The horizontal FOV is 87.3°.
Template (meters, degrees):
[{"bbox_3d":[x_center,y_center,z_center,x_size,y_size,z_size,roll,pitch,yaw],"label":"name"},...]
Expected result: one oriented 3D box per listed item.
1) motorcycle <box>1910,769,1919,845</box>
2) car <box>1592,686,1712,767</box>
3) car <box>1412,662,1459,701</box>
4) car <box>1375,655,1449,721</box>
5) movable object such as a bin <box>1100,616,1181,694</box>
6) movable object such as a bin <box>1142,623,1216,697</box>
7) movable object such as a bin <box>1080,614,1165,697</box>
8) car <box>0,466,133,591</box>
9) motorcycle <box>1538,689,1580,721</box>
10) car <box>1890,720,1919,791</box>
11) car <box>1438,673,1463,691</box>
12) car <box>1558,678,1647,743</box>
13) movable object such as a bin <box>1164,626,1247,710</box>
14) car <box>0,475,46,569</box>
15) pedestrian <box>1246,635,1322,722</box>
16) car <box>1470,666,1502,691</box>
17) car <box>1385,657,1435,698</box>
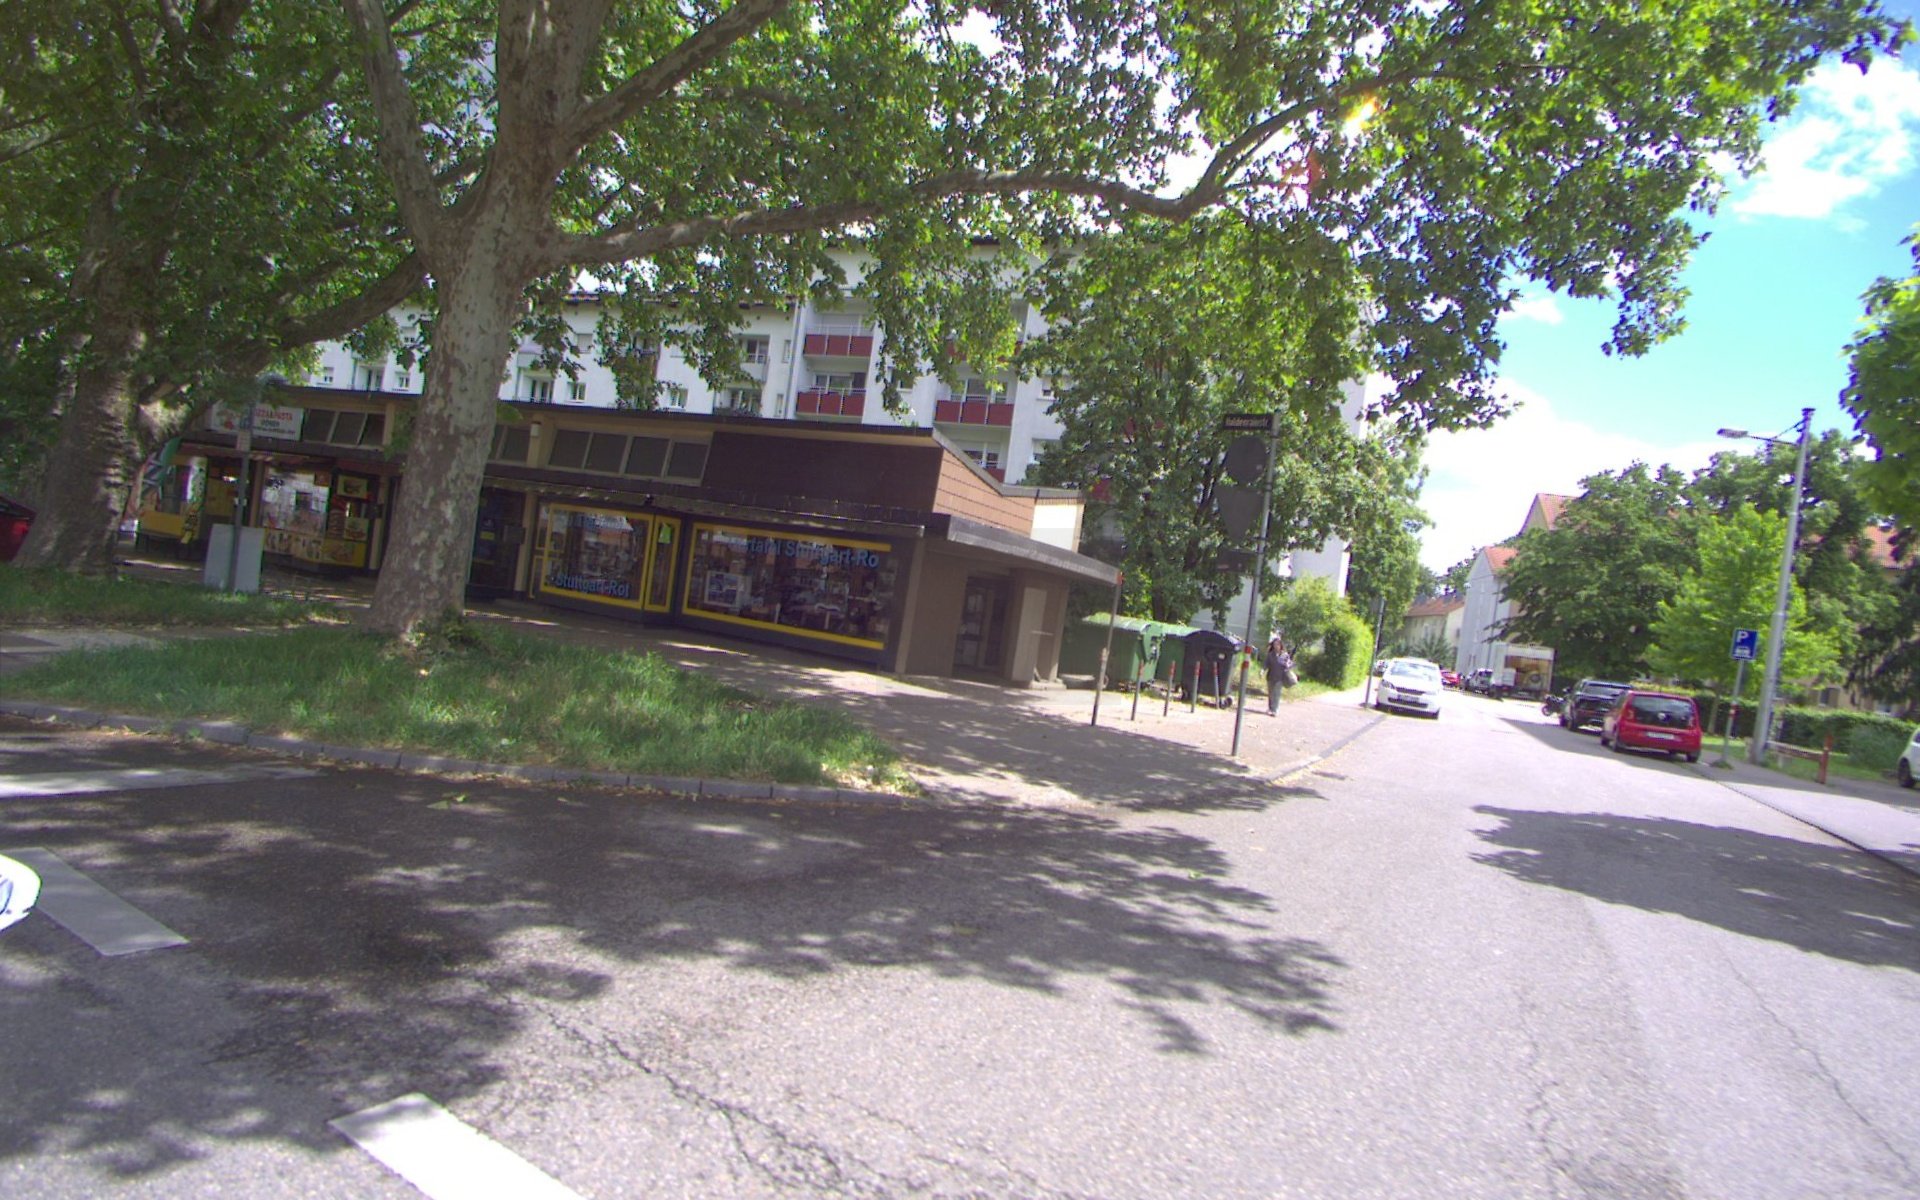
[{"bbox_3d":[12.633,2.456,11.932,2.101,1.210,0.738,7,1,-8],"label":"motorcycle"},{"bbox_3d":[16.264,2.920,23.817,1.609,1.456,3.487,7,0,25],"label":"car"},{"bbox_3d":[21.744,3.696,46.070,1.700,1.459,3.512,7,0,24],"label":"car"},{"bbox_3d":[12.565,2.399,28.038,1.626,1.504,3.467,7,0,24],"label":"car"},{"bbox_3d":[3.836,1.160,21.378,1.191,1.431,1.177,10,3,28],"label":"movable object such as a bin"},{"bbox_3d":[4.876,1.327,22.314,1.124,1.431,1.183,10,3,28],"label":"movable object such as a bin"},{"bbox_3d":[3.280,1.111,20.266,1.191,1.431,1.177,10,3,28],"label":"movable object such as a bin"},{"bbox_3d":[-13.937,-1.083,13.527,1.703,1.633,4.026,7,3,35],"label":"car"},{"bbox_3d":[23.843,4.169,40.045,1.327,1.029,0.525,7,1,31],"label":"motorcycle"},{"bbox_3d":[21.359,3.461,21.003,1.718,1.456,3.487,7,0,25],"label":"car"},{"bbox_3d":[44.584,7.456,91.492,1.535,1.449,3.345,7,-2,20],"label":"car"},{"bbox_3d":[19.402,3.281,30.525,1.611,1.571,3.842,7,0,25],"label":"car"},{"bbox_3d":[4.848,1.333,19.837,1.124,1.431,1.183,10,3,28],"label":"movable object such as a bin"},{"bbox_3d":[-17.282,-1.419,16.209,1.582,1.535,3.410,7,2,28],"label":"car"},{"bbox_3d":[6.446,1.545,20.016,1.082,1.494,0.809,11,3,27],"label":"pedestrian"},{"bbox_3d":[35.791,5.350,68.481,1.536,1.449,3.343,7,-2,24],"label":"car"},{"bbox_3d":[18.869,3.223,42.235,1.700,1.459,3.512,7,0,24],"label":"car"}]
